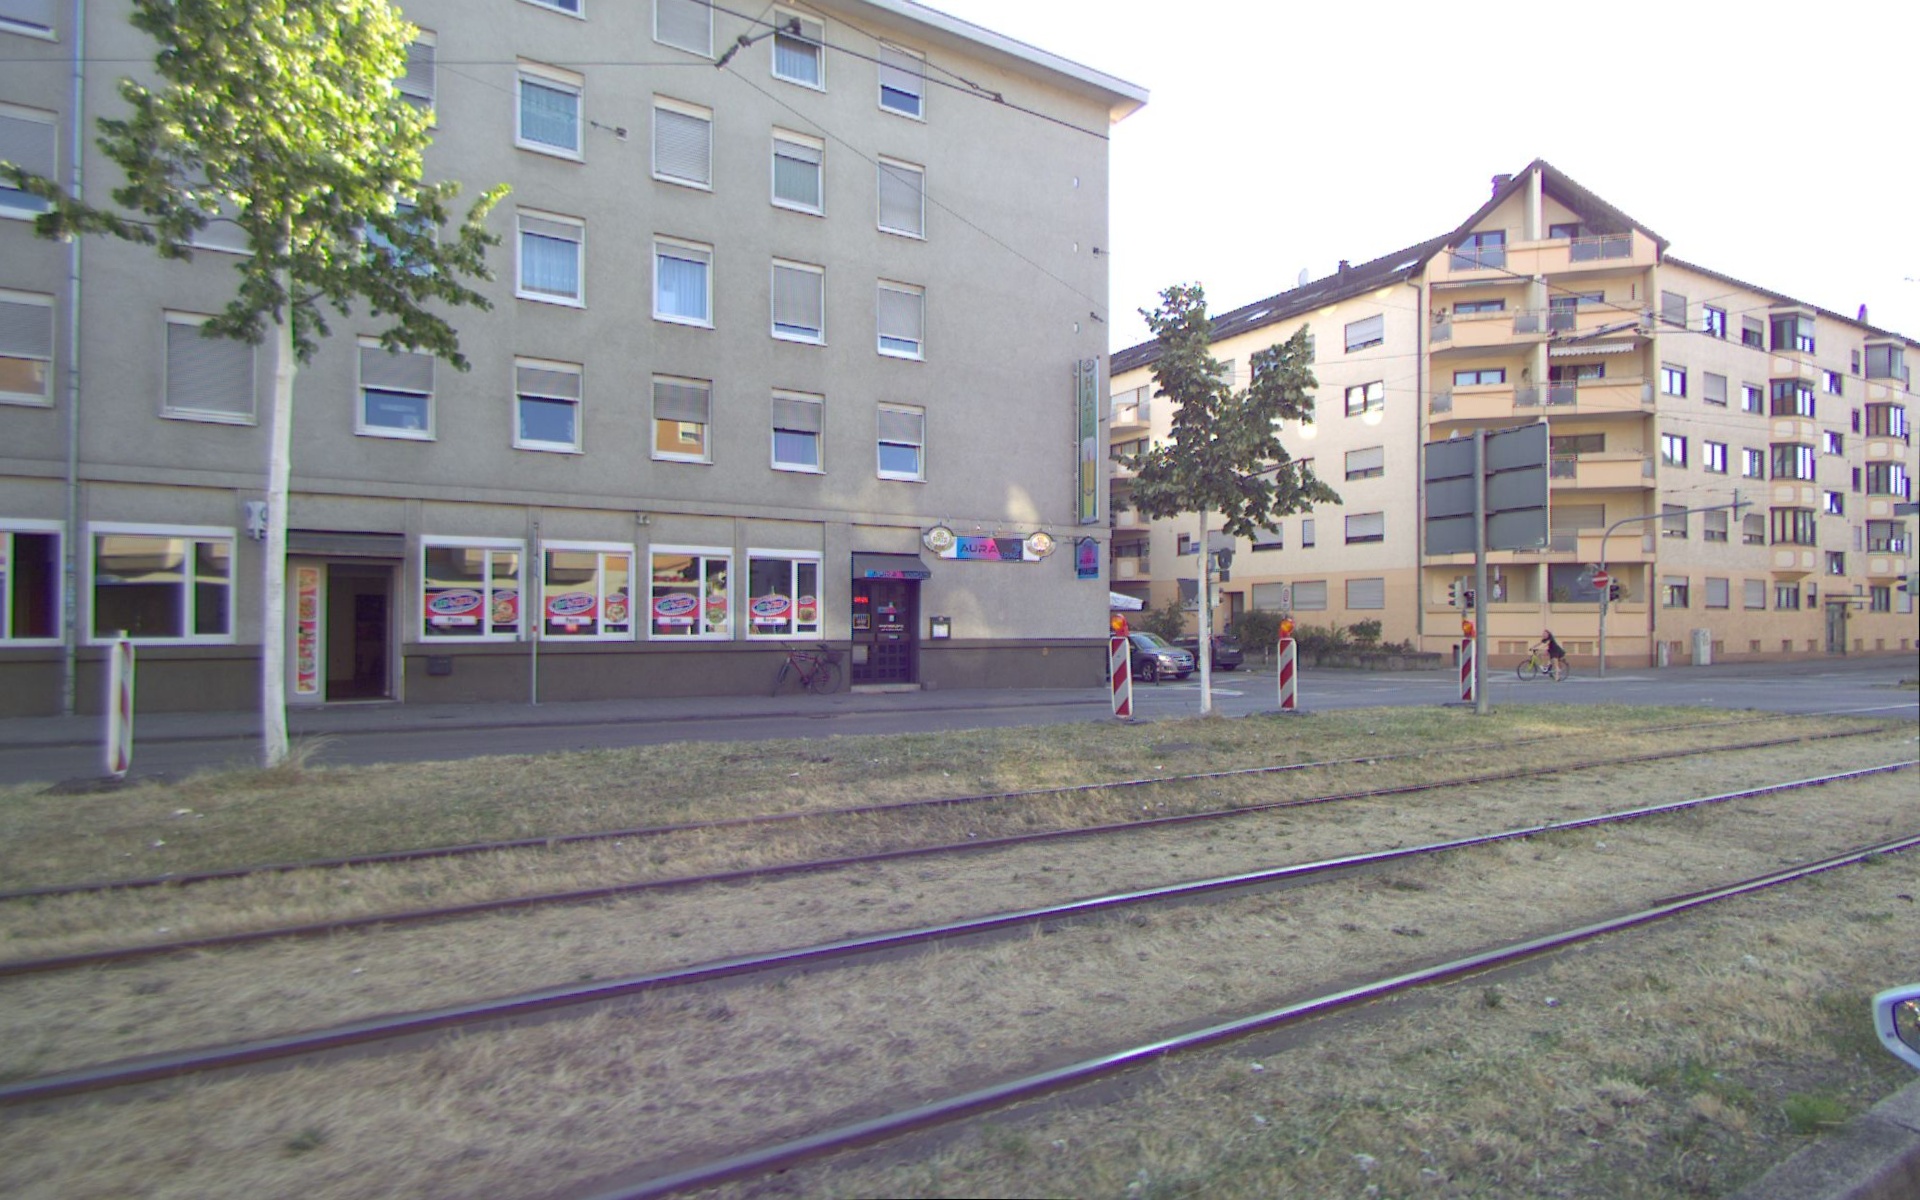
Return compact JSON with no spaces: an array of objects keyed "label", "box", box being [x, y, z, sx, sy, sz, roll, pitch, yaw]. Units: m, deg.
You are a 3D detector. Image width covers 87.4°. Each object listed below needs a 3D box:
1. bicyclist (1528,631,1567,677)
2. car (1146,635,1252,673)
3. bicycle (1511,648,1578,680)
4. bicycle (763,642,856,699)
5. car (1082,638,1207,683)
[{"label":"bicyclist","box":[18.991,1.752,32.478,0.946,1.466,0.529,0,-1,1]},{"label":"car","box":[9.632,2.151,40.732,1.776,1.458,3.926,2,-3,-39]},{"label":"bicycle","box":[18.879,2.057,32.472,1.846,0.997,0.529,0,-1,1]},{"label":"bicycle","box":[-3.115,1.443,20.851,1.757,1.129,0.743,1,-2,-30]},{"label":"car","box":[6.290,2.025,34.545,1.751,1.406,4.075,2,-2,-39]}]
